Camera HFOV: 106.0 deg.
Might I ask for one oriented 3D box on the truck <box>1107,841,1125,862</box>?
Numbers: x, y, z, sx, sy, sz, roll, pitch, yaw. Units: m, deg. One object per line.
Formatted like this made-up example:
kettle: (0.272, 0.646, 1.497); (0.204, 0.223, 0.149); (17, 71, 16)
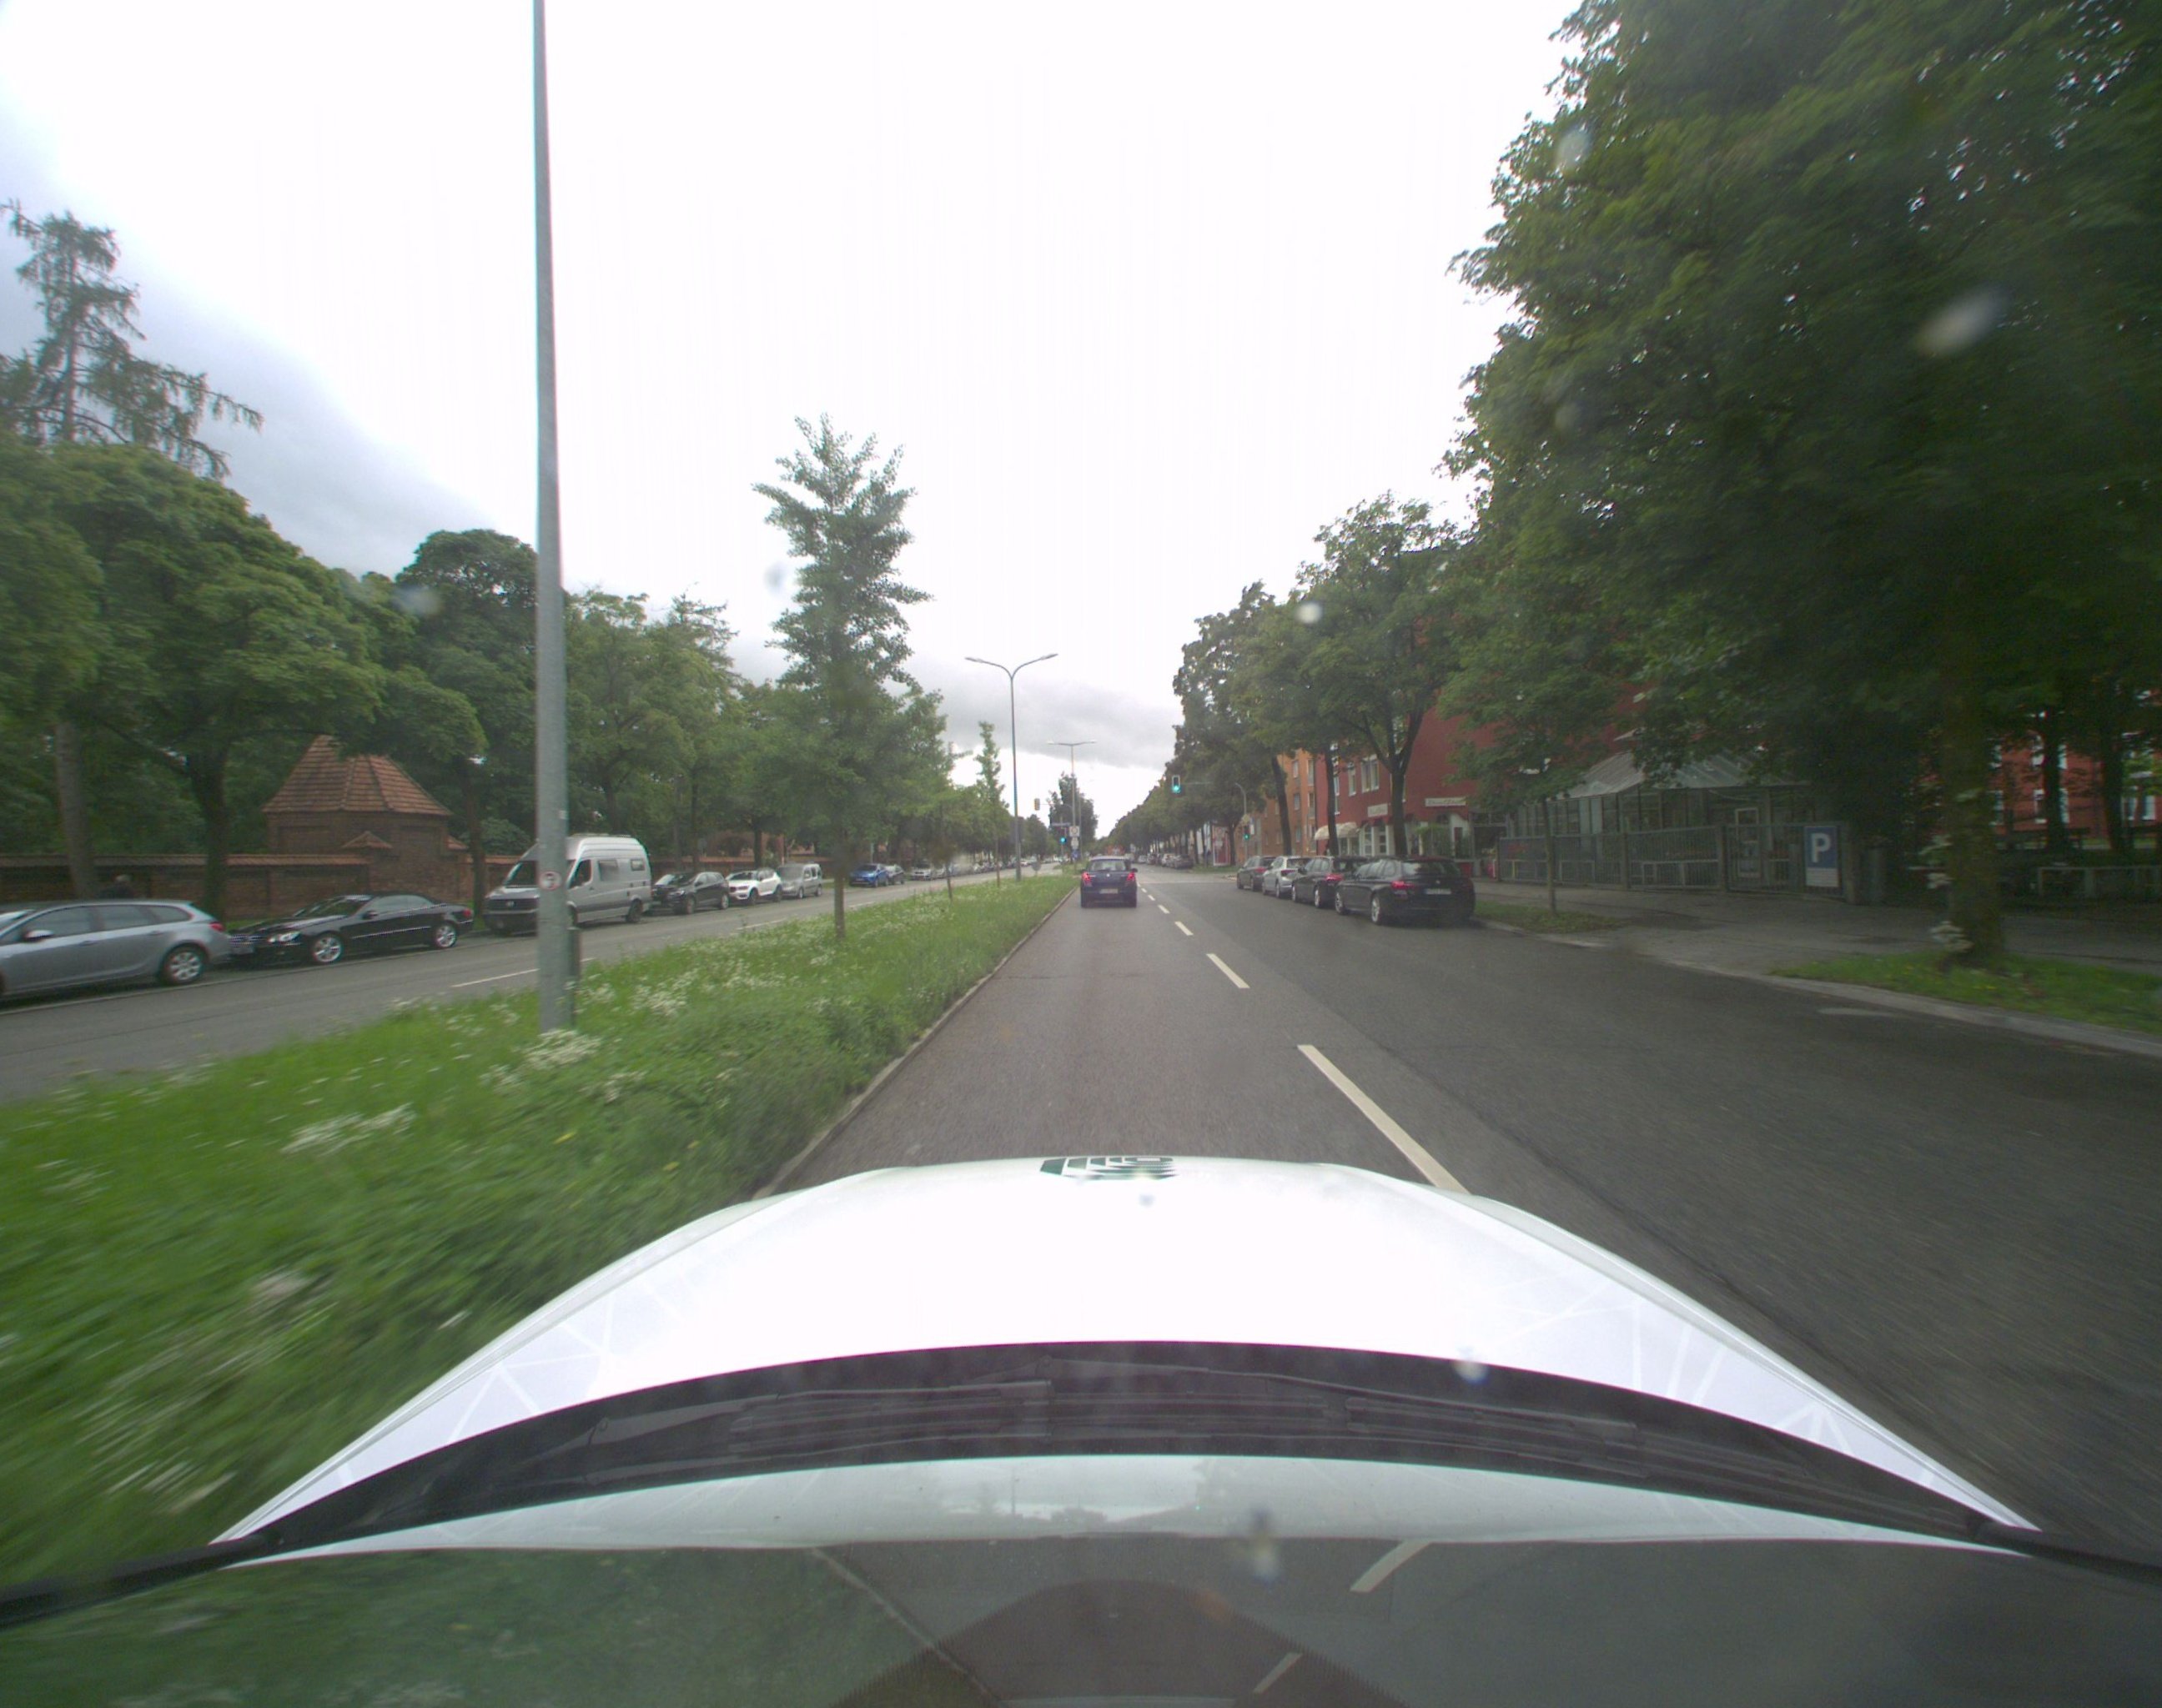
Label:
truck: (6.435, -0.415, 148.542); (3.029, 3.557, 13.684); (-1, 0, 3)

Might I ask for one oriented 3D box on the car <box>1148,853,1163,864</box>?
car: (11.426, 0.688, 125.585); (1.986, 1.530, 4.002); (-2, 0, 2)

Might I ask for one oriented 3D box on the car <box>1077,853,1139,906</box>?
car: (0.881, 0.733, 25.451); (1.746, 1.505, 4.003); (-2, 0, 3)

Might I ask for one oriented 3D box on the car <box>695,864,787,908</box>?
car: (-15.106, 1.377, 36.489); (2.179, 1.736, 4.576); (-1, 0, -1)

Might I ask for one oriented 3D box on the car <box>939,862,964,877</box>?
car: (-13.868, 1.635, 87.411); (1.795, 1.534, 4.002); (-2, 0, 2)

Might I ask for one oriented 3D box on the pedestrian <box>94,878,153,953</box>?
pedestrian: (-21.266, 1.344, 18.095); (0.766, 1.567, 0.800); (-2, 0, 38)

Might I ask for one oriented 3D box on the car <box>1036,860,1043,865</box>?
car: (-12.660, 2.592, 250.655); (1.795, 1.534, 4.002); (-2, 0, 2)

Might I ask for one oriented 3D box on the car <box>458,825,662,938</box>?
car: (-15.377, 0.736, 24.647); (2.179, 2.954, 6.189); (-1, 0, -1)

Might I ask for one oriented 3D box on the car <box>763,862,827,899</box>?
car: (-14.664, 1.323, 41.932); (1.700, 1.734, 4.002); (-2, 0, 2)

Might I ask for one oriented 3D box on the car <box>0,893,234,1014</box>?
car: (-15.957, 1.476, 12.214); (1.807, 1.536, 4.442); (-1, 0, 1)

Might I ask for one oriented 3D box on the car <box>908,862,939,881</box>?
car: (-14.113, 1.530, 73.083); (1.795, 1.534, 4.002); (-2, 0, 2)

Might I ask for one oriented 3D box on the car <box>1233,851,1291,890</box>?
car: (7.491, 0.647, 34.002); (1.688, 1.452, 4.127); (-2, 0, 4)

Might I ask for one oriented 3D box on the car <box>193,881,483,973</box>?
car: (-15.713, 1.455, 17.697); (1.807, 1.536, 4.820); (-1, 0, 1)

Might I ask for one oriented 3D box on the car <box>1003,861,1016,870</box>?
car: (-13.130, 2.076, 148.951); (1.794, 1.534, 4.003); (-1, 0, 3)

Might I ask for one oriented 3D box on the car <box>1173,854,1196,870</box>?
car: (10.683, 0.798, 84.195); (1.986, 1.530, 4.002); (-2, 0, 2)

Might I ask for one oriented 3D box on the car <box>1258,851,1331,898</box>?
car: (7.380, 0.668, 28.559); (1.688, 1.452, 4.127); (-2, 0, 4)

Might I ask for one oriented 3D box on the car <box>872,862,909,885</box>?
car: (-14.507, 1.457, 62.074); (1.700, 1.534, 4.002); (-2, 0, 2)

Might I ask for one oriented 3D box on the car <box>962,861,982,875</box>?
car: (-13.631, 1.735, 101.818); (1.795, 1.534, 4.002); (-2, 0, 2)

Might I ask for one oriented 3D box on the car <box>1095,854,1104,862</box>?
car: (3.664, 0.806, 161.945); (1.712, 1.500, 4.302); (-1, 0, 2)

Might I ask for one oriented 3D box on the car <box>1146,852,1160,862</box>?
car: (11.460, 0.493, 130.042); (1.986, 1.530, 4.002); (-2, 0, 2)

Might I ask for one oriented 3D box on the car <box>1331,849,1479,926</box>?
car: (7.022, 0.658, 18.188); (1.646, 1.452, 4.713); (-2, 0, 4)

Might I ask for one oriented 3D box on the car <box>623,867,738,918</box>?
car: (-15.234, 1.399, 31.324); (2.179, 1.736, 4.576); (-1, 0, -1)

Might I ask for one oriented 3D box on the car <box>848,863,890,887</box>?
car: (-14.592, 1.424, 56.155); (1.700, 1.534, 4.002); (-2, 0, 2)

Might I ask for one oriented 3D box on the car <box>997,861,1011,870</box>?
car: (-13.531, 2.061, 143.563); (1.795, 1.534, 4.002); (-2, 0, 2)

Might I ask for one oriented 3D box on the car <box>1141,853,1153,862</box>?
car: (12.106, 0.600, 149.237); (1.986, 1.530, 4.002); (-2, 0, 2)

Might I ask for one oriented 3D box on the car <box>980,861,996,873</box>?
car: (-13.412, 1.855, 117.746); (1.795, 1.534, 4.002); (-2, 0, 2)

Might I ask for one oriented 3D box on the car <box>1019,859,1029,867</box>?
car: (-12.272, 1.987, 175.140); (1.795, 1.534, 4.002); (-2, 0, 2)

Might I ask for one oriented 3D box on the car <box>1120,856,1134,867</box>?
car: (6.675, 1.060, 118.102); (1.815, 1.477, 4.692); (0, 0, 2)

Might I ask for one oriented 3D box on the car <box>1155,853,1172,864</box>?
car: (11.376, 0.608, 112.729); (1.986, 1.530, 4.002); (-2, 0, 2)

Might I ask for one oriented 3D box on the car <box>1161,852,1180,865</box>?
car: (11.246, 0.551, 102.363); (1.986, 1.530, 4.002); (-2, 0, 2)

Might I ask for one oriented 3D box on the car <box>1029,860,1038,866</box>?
car: (-11.867, 2.201, 203.976); (1.795, 1.534, 4.002); (-2, 0, 2)

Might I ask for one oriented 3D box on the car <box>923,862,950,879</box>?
car: (-14.080, 1.565, 79.451); (1.795, 1.534, 4.002); (-2, 0, 2)
